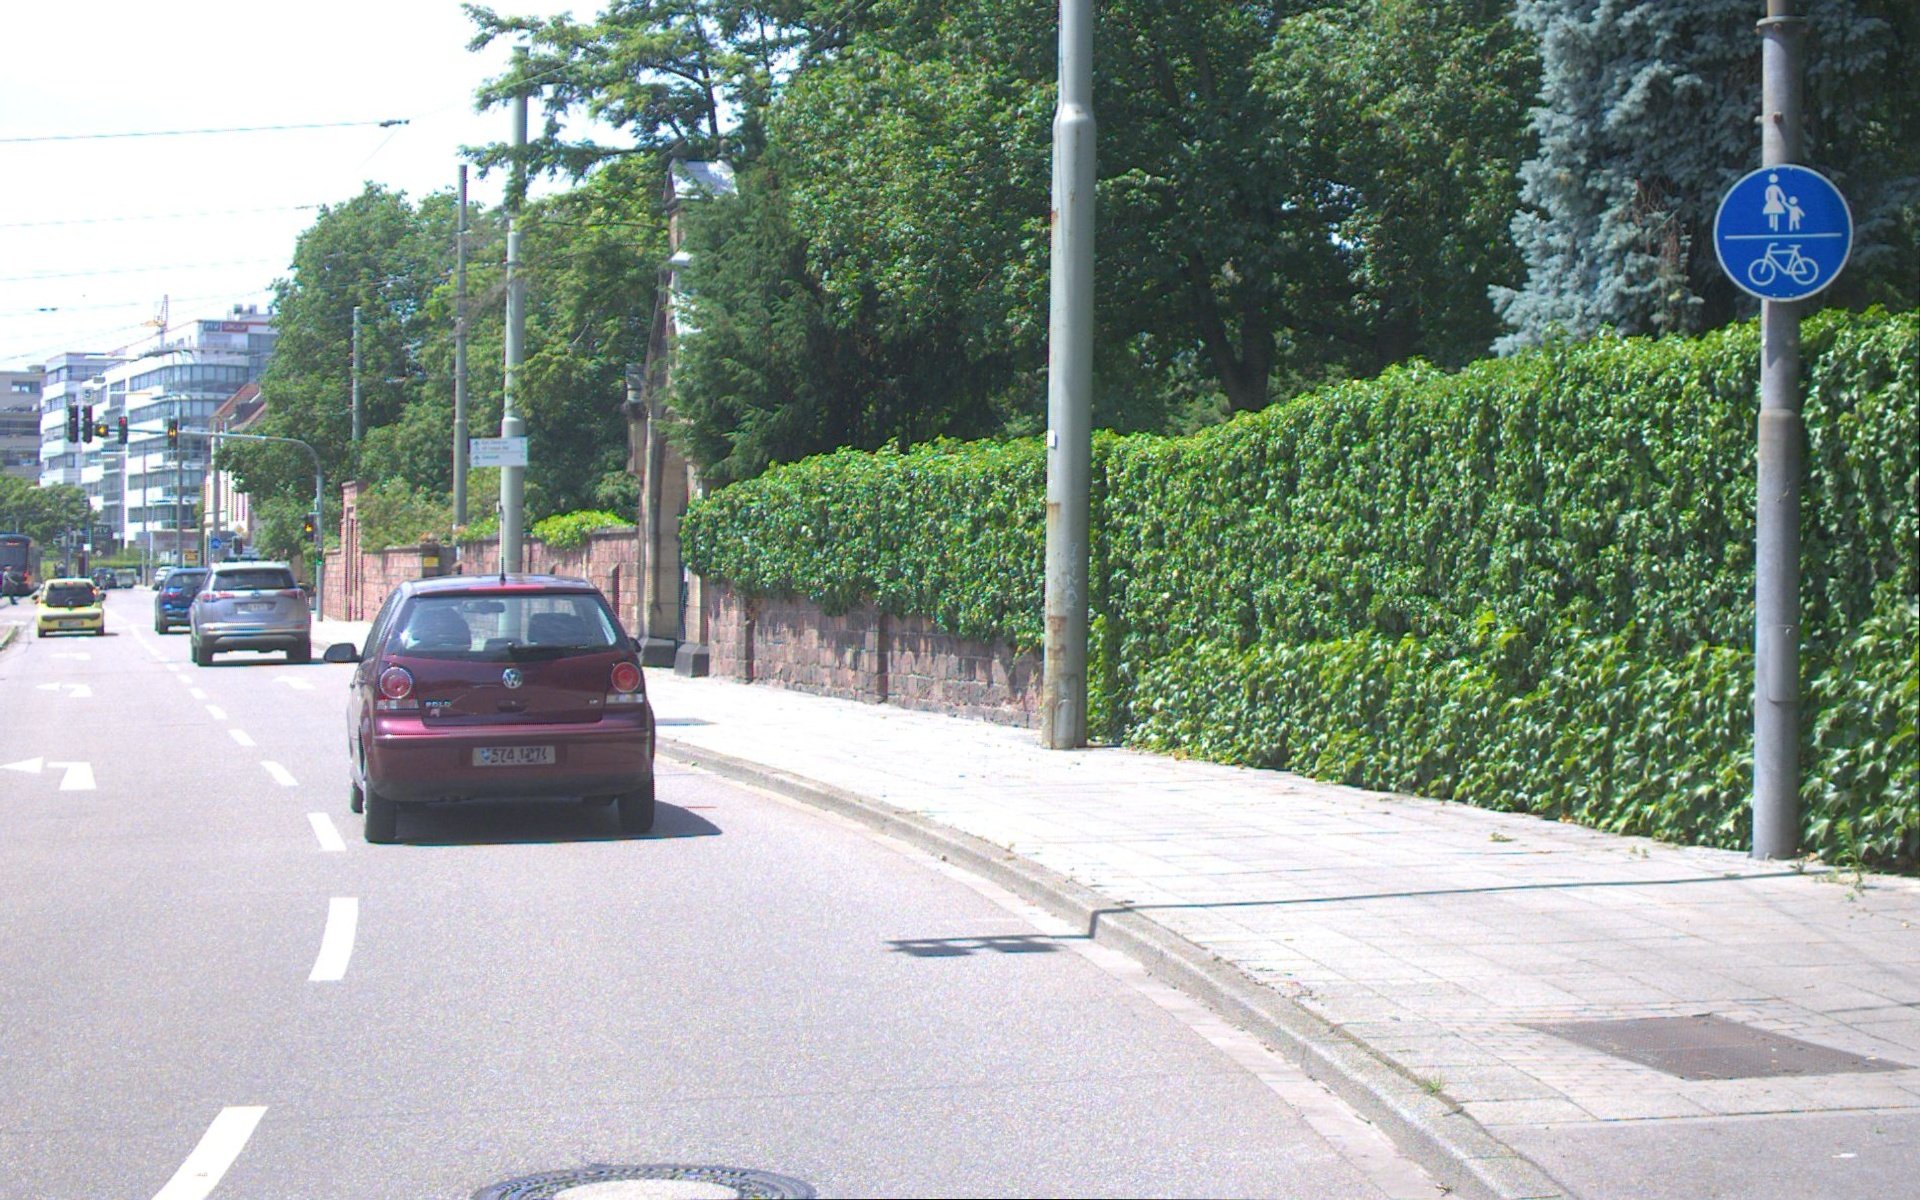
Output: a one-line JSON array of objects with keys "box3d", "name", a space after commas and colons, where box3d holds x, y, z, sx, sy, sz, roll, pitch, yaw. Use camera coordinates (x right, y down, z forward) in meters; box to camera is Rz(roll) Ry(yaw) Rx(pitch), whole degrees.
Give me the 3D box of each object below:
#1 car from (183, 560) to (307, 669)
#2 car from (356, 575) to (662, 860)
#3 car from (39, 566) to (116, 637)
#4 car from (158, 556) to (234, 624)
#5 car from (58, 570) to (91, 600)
[{"box3d": [-11.728, 0.211, 56.241, 1.794, 1.677, 4.001, 2, 0, -14], "name": "car"}, {"box3d": [-2.722, 0.605, 20.276, 1.609, 1.493, 4.001, 0, 1, -9], "name": "car"}, {"box3d": [-22.220, 0.018, 86.659, 1.794, 1.677, 4.001, 2, 0, -14], "name": "car"}, {"box3d": [-19.361, -0.263, 87.203, 1.773, 1.625, 4.001, 2, 0, -12], "name": "car"}, {"box3d": [-39.325, -0.677, 152.708, 1.353, 1.248, 2.973, 2, 0, -14], "name": "car"}]
